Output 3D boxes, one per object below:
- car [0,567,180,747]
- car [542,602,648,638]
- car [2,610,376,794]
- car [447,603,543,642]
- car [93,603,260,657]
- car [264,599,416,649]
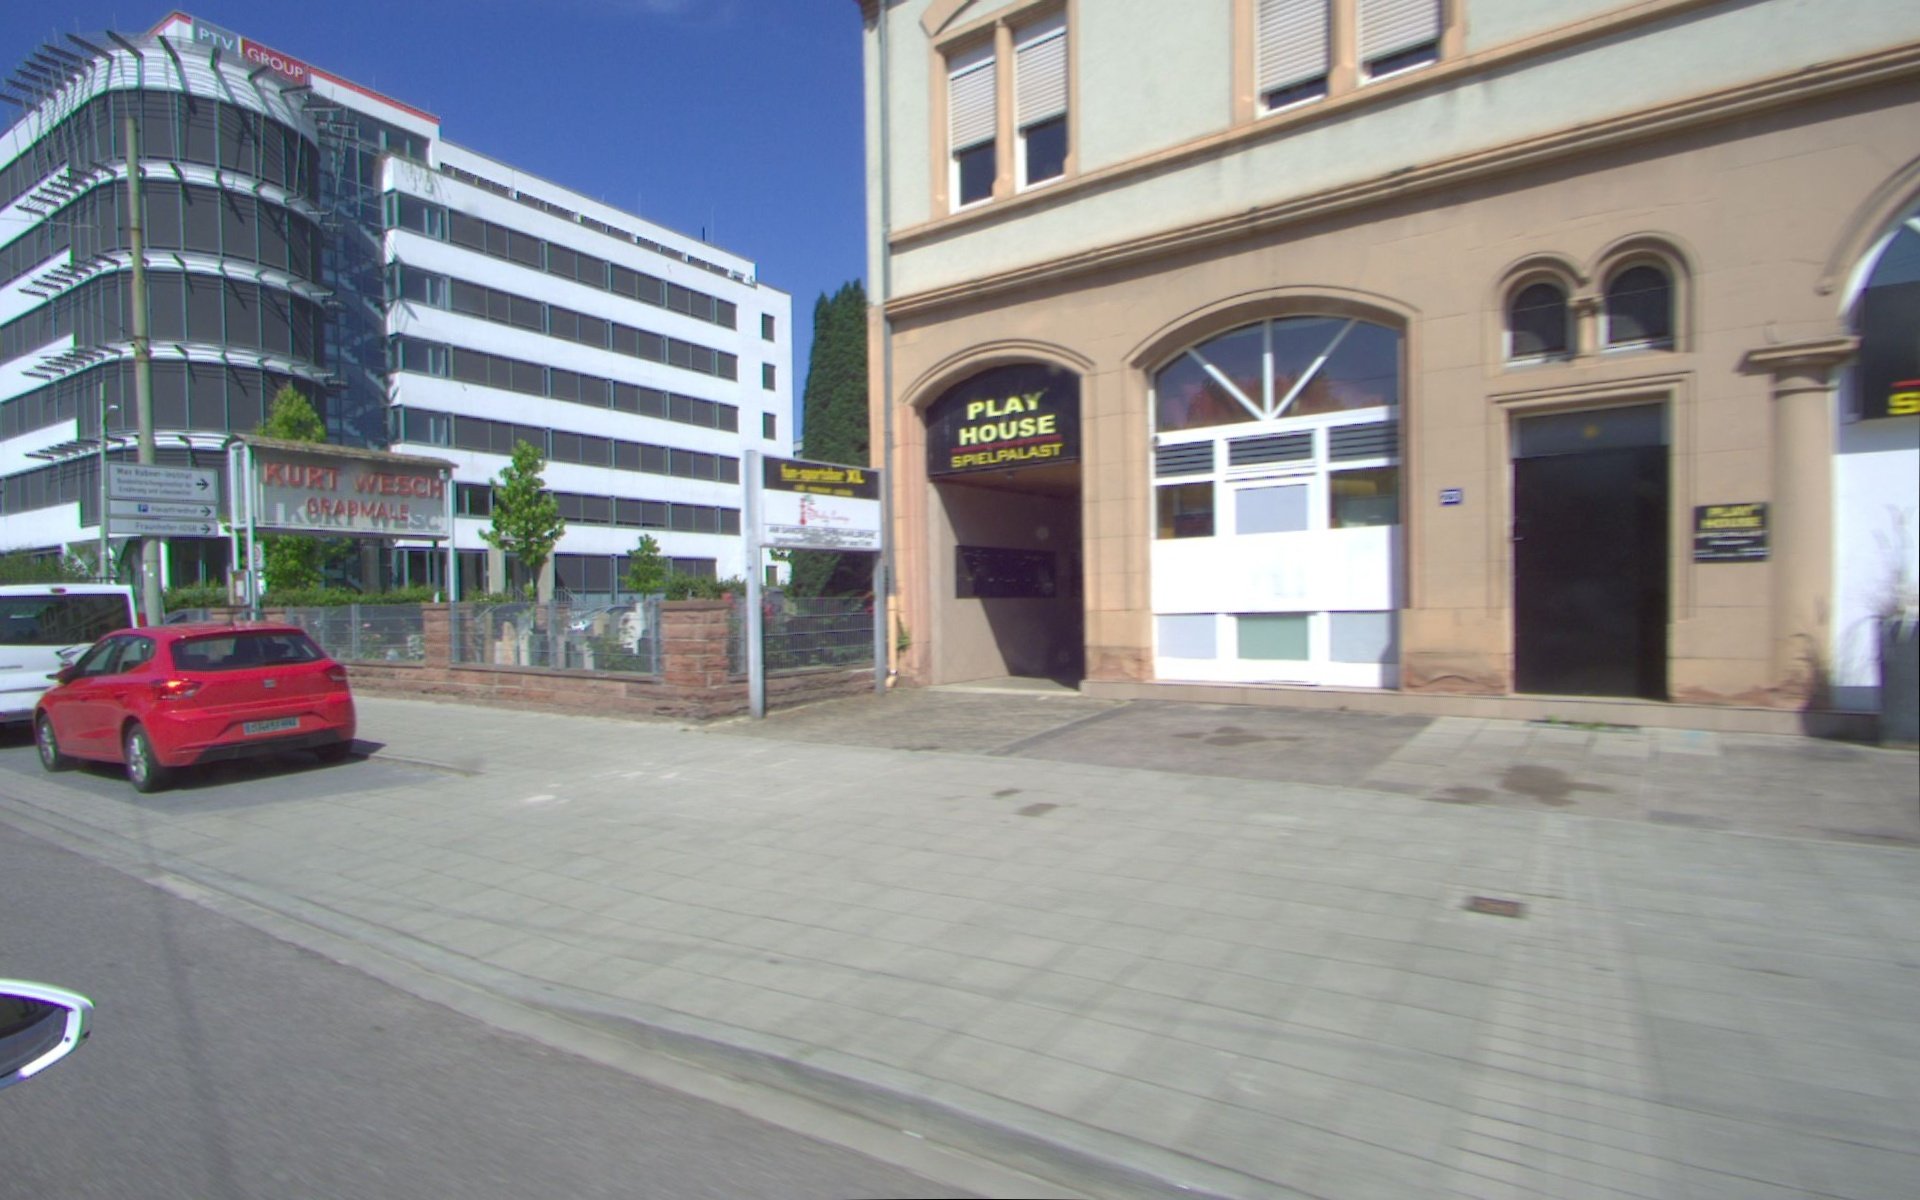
[{"bbox_3d":[-12.920,0.673,13.689,5.119,2.083,1.971,-1,2,34],"label":"car"},{"bbox_3d":[-15.234,0.808,41.939,1.635,1.445,3.977,0,0,33],"label":"car"},{"bbox_3d":[-7.956,0.882,10.230,4.252,1.463,1.717,-1,2,34],"label":"car"},{"bbox_3d":[-17.600,0.825,37.992,1.635,1.429,2.898,0,0,33],"label":"car"},{"bbox_3d":[-23.063,0.845,29.604,1.570,1.492,3.584,0,0,33],"label":"car"},{"bbox_3d":[-20.524,0.751,33.300,1.635,1.567,3.977,0,0,33],"label":"car"}]
